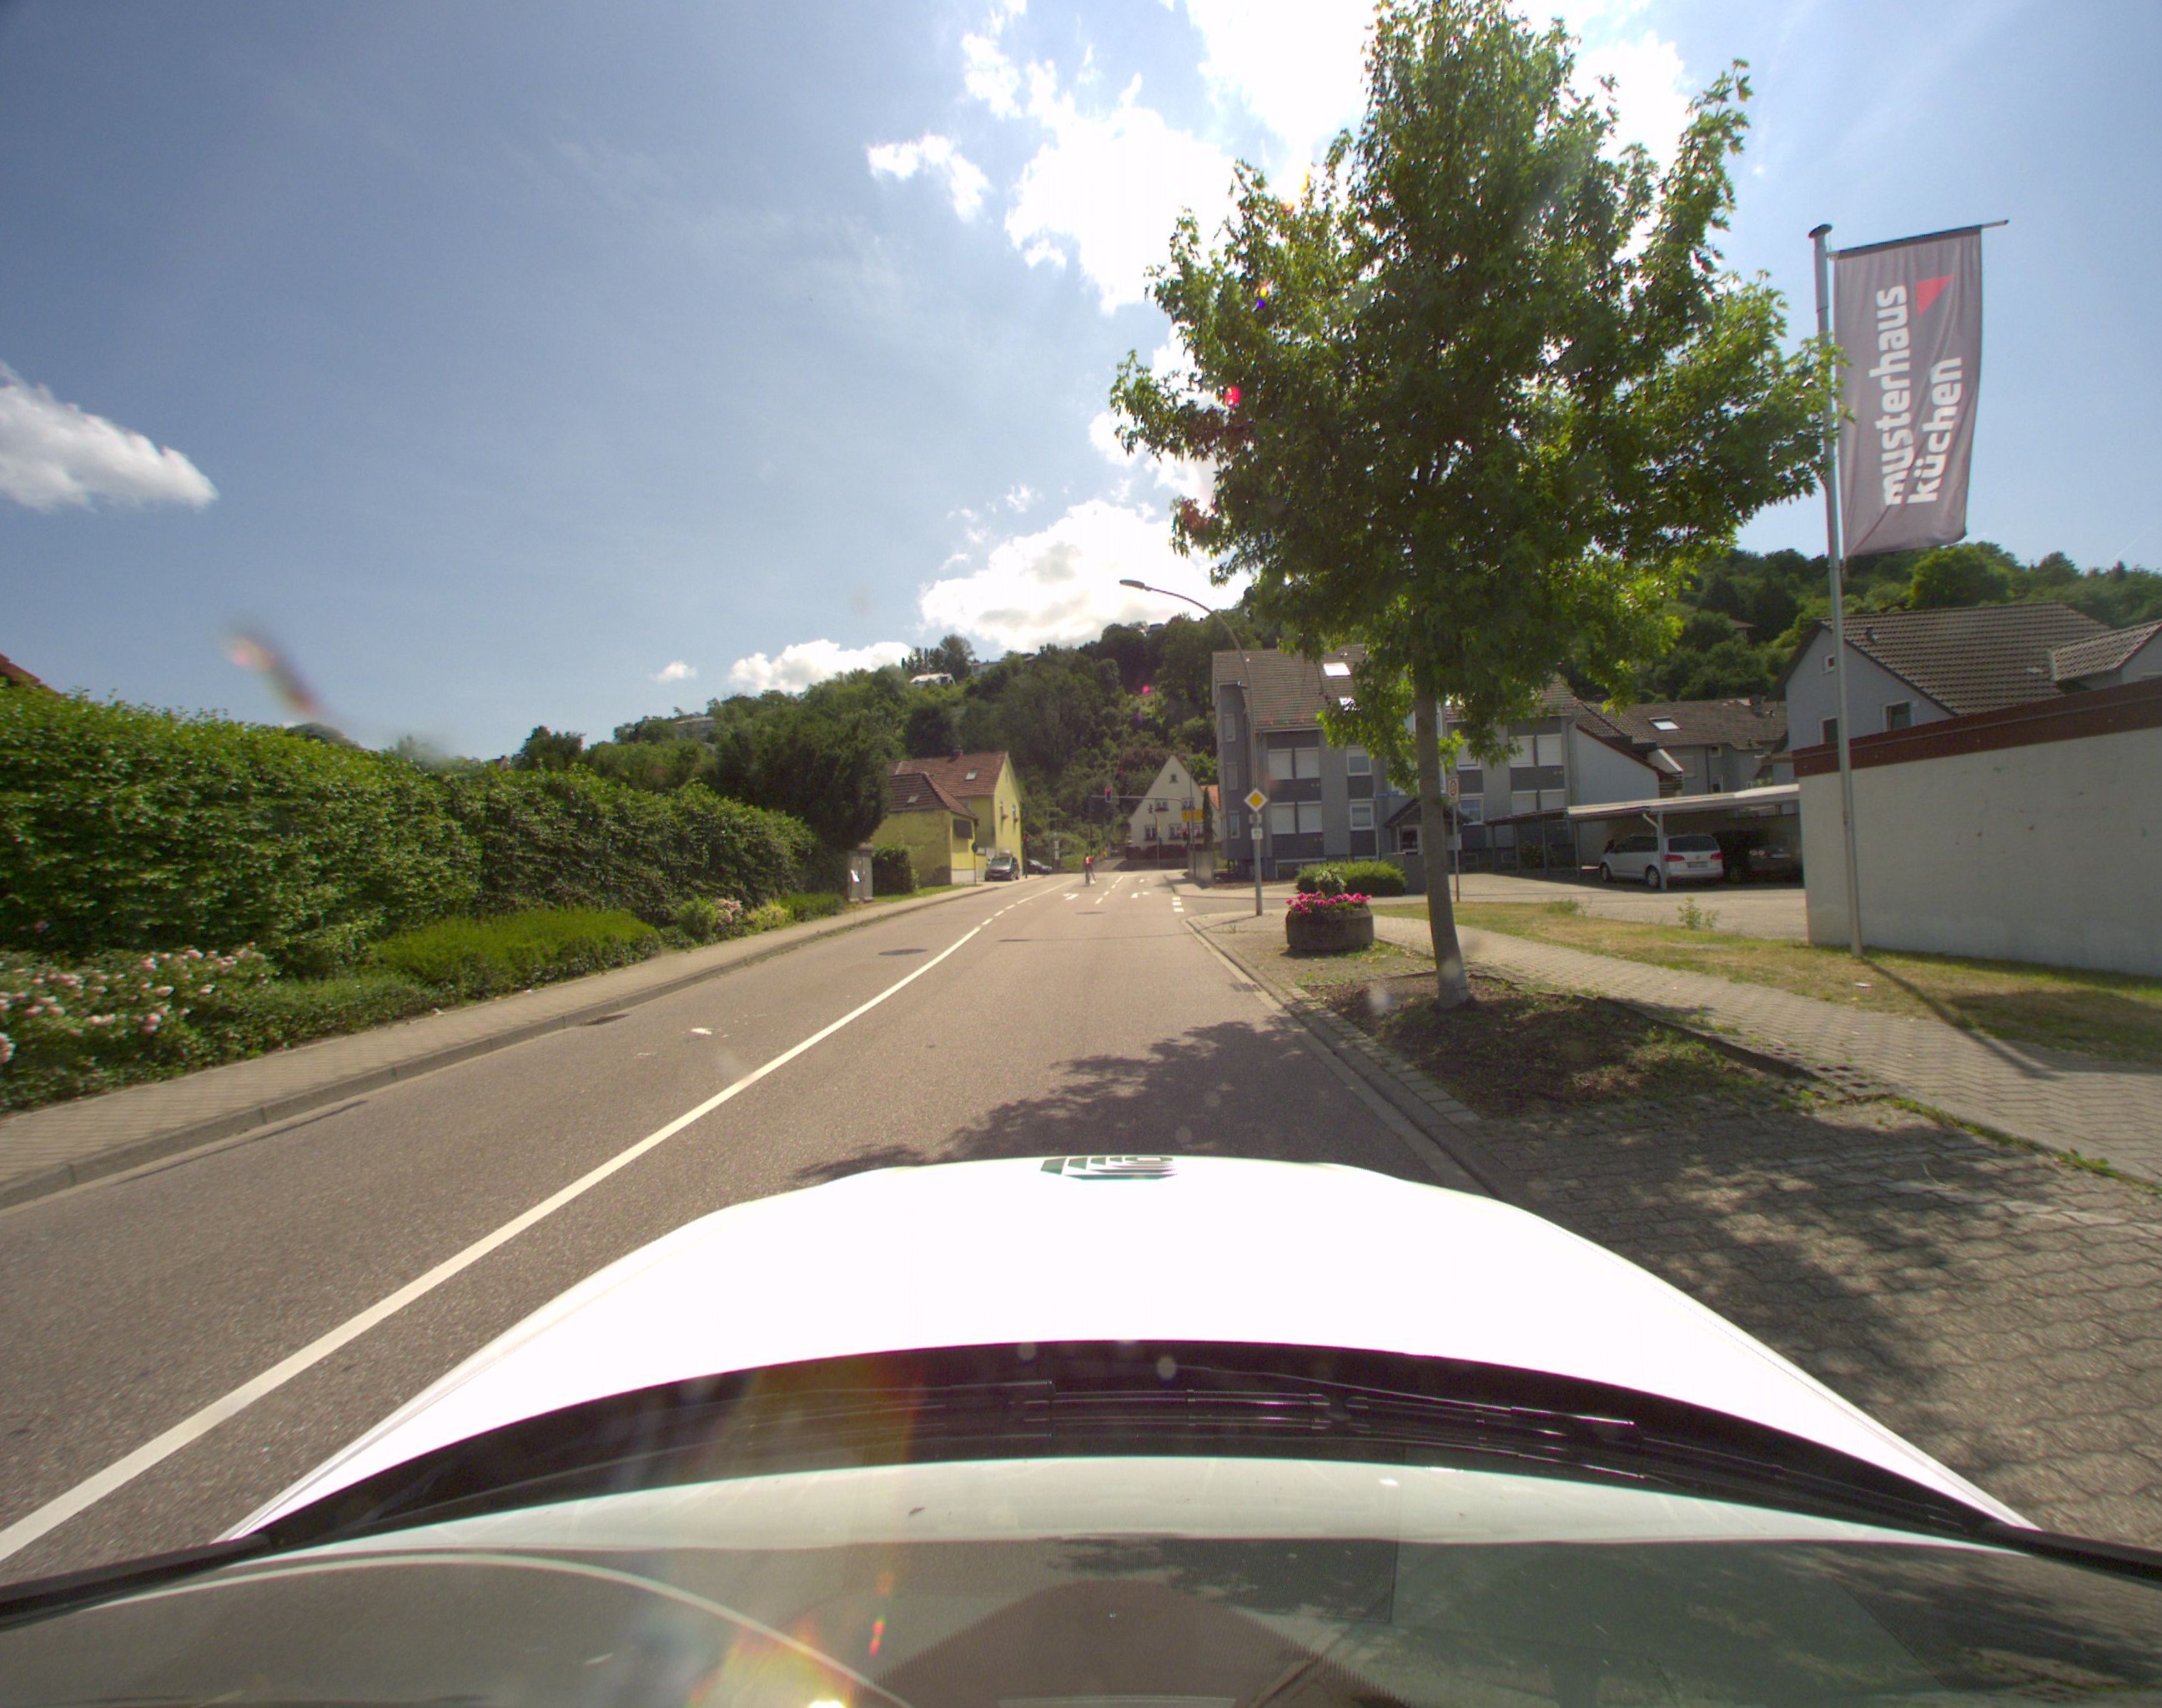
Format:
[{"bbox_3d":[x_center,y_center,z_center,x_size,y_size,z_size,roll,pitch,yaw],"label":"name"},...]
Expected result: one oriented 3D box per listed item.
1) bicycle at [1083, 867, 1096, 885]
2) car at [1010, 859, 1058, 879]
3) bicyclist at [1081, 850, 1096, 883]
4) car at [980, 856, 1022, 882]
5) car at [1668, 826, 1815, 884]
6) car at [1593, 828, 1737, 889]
[{"bbox_3d":[0.432,1.128,42.183,0.627,0.905,1.657,-1,0,0],"label":"bicycle"},{"bbox_3d":[-4.156,1.331,72.322,3.823,1.433,1.797,-4,0,27],"label":"car"},{"bbox_3d":[0.390,0.652,42.000,0.758,1.664,0.868,-1,0,0],"label":"bicyclist"},{"bbox_3d":[-5.330,0.992,54.999,1.984,1.635,4.636,-1,0,4],"label":"car"},{"bbox_3d":[20.579,-0.018,25.595,1.728,1.587,3.860,-3,1,5],"label":"car"},{"bbox_3d":[18.015,0.073,25.396,1.728,1.648,4.222,-3,1,5],"label":"car"}]
